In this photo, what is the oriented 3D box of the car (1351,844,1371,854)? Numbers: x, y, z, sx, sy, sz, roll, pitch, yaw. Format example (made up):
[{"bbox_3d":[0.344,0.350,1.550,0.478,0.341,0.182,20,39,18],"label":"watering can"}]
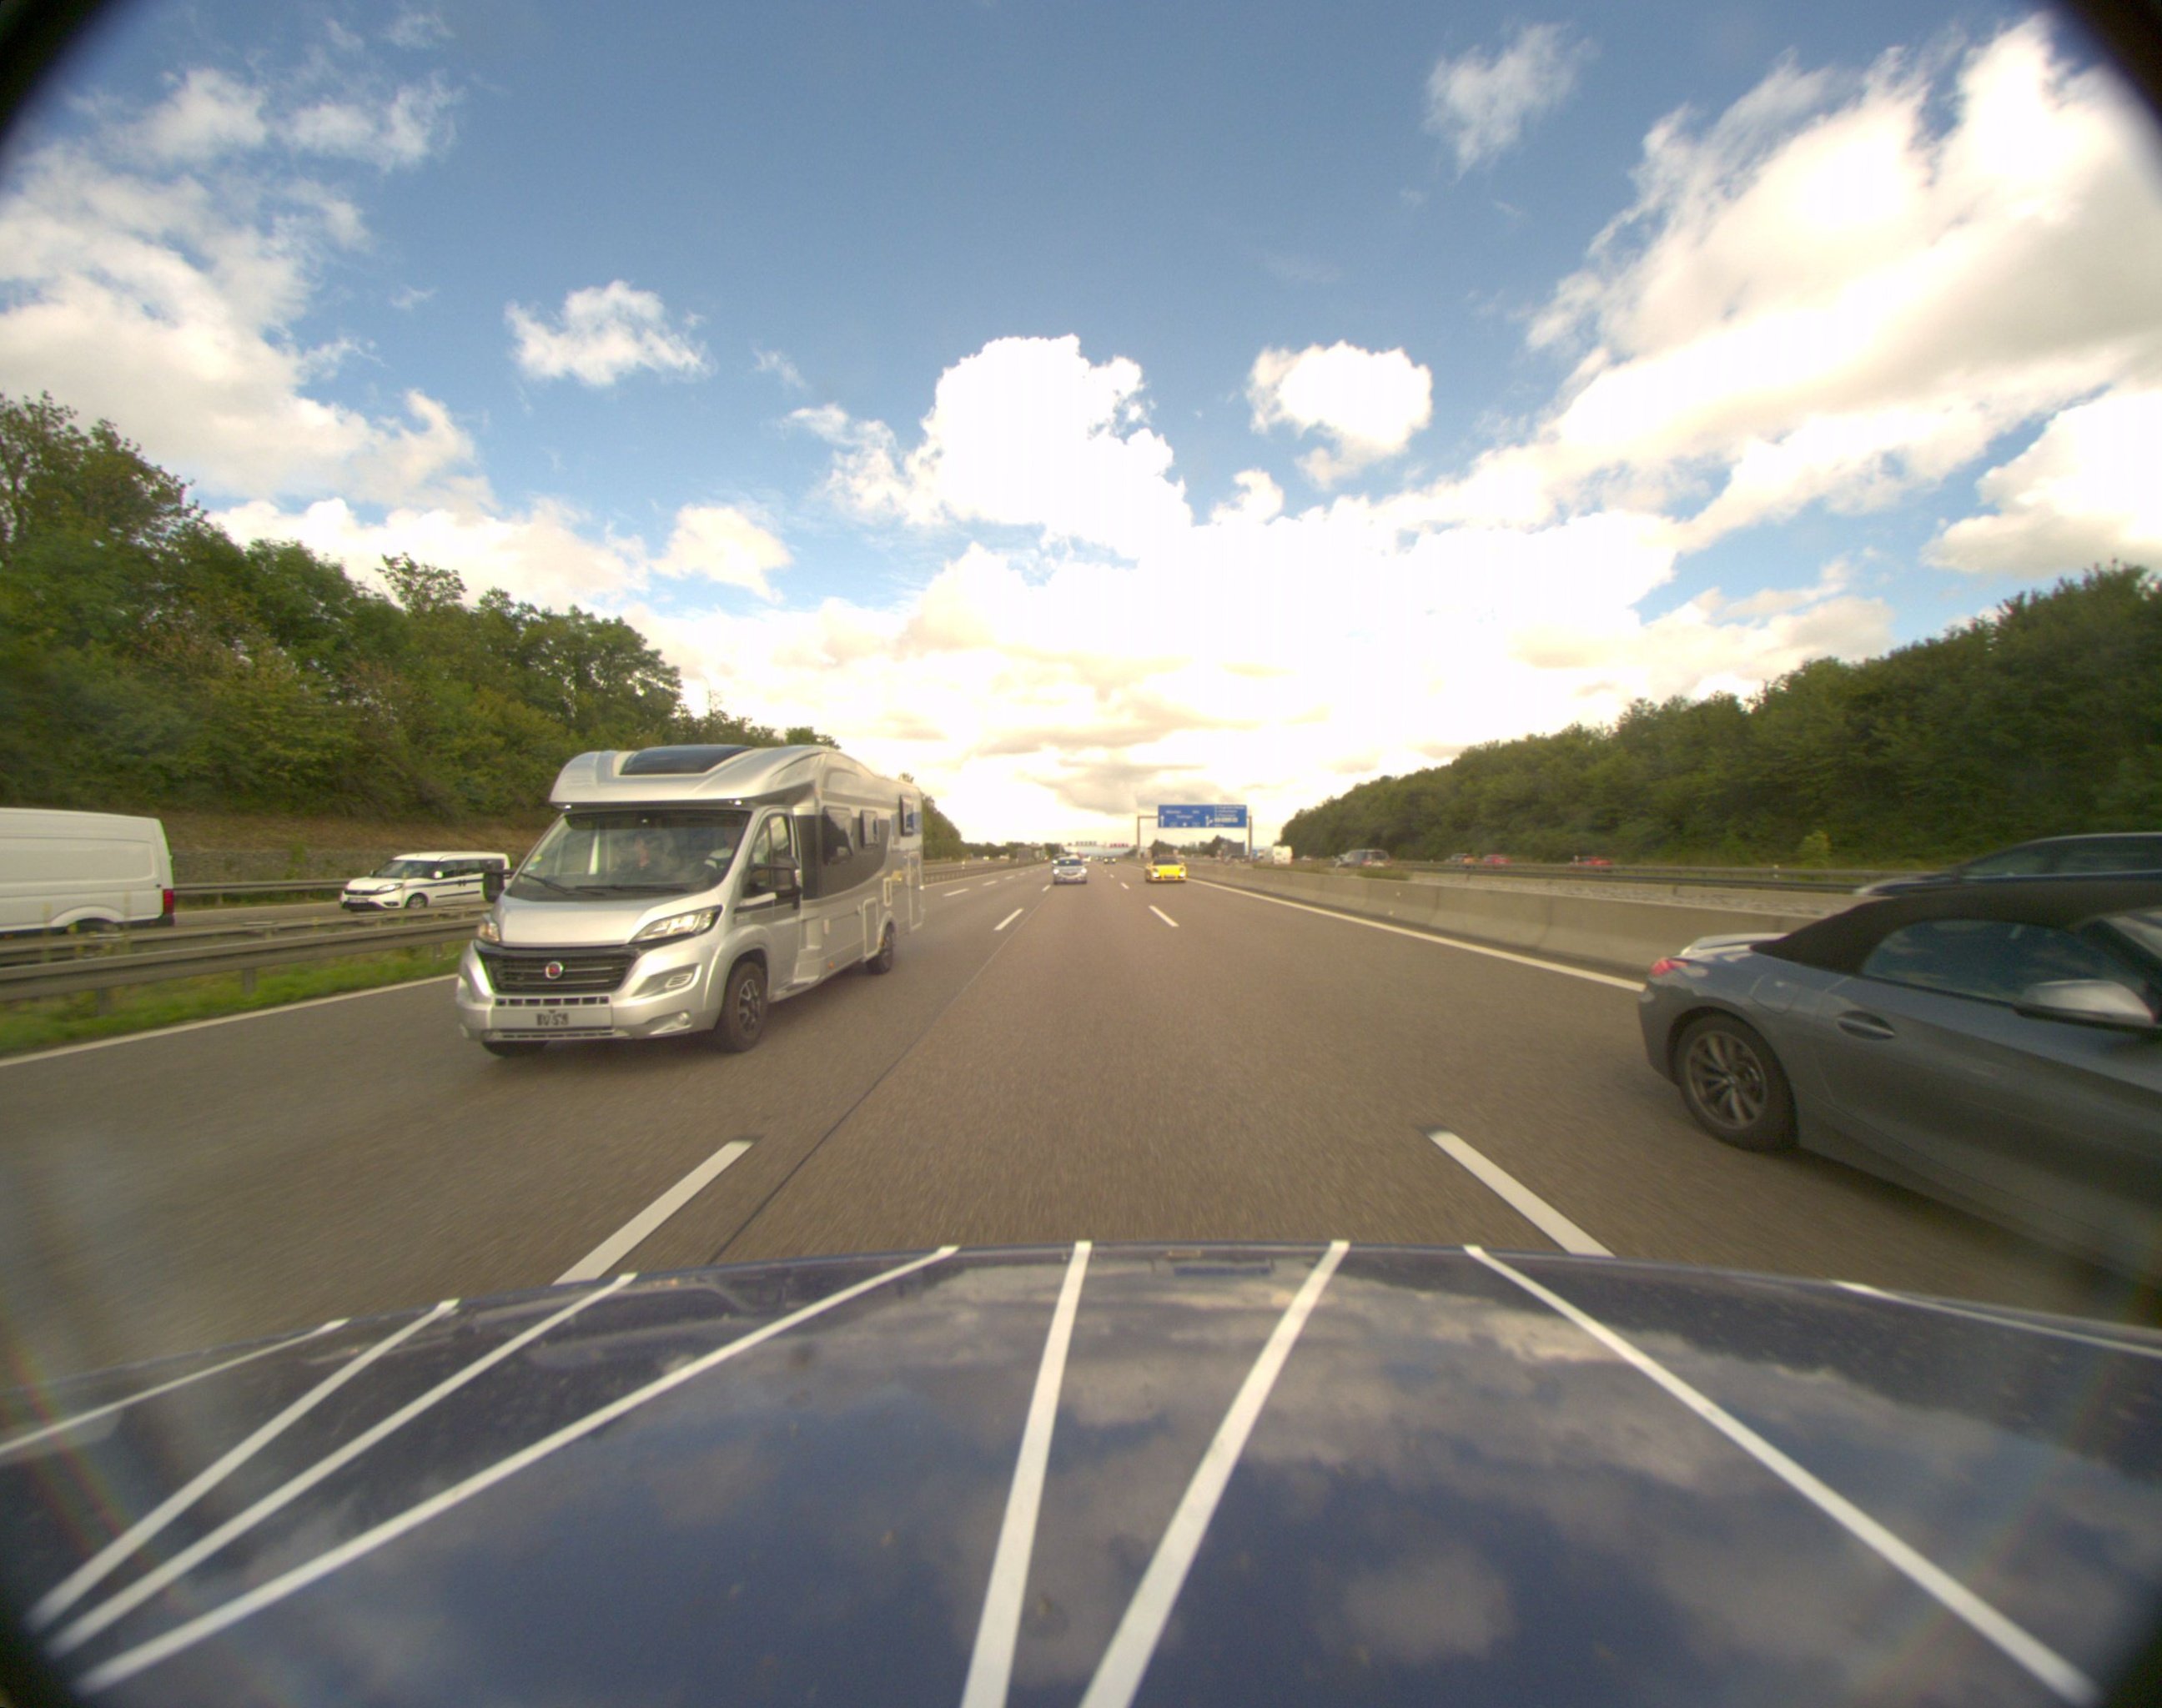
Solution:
[{"bbox_3d":[42.893,-0.736,116.470,1.596,1.486,4.180,0,0,-1],"label":"car"}]

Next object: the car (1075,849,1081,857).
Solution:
[{"bbox_3d":[-0.992,-0.421,254.550,1.854,2.565,5.411,0,0,0],"label":"car"}]

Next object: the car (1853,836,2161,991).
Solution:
[{"bbox_3d":[12.267,0.612,8.972,1.776,1.601,4.465,-1,1,0],"label":"car"}]

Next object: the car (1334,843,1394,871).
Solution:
[{"bbox_3d":[16.574,0.133,44.768,1.779,1.552,4.780,-1,1,0],"label":"car"}]

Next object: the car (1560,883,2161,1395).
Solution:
[{"bbox_3d":[4.004,0.872,2.398,1.878,1.295,4.942,-1,0,0],"label":"car"}]

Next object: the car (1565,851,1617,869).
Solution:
[{"bbox_3d":[41.924,0.494,62.525,1.567,1.357,4.051,-1,1,0],"label":"car"}]

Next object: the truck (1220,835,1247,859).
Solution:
[{"bbox_3d":[21.607,-0.994,108.032,2.359,3.245,7.824,-1,1,0],"label":"truck"}]

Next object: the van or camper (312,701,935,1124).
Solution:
[{"bbox_3d":[-3.738,0.362,8.835,2.475,2.706,7.660,-2,0,0],"label":"van or camper"}]

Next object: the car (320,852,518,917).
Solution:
[{"bbox_3d":[-20.115,0.832,23.453,1.848,1.741,4.764,-2,0,1],"label":"car"}]

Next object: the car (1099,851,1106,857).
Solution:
[{"bbox_3d":[6.328,-0.036,228.211,1.998,2.002,4.589,0,0,1],"label":"car"}]

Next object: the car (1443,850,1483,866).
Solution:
[{"bbox_3d":[34.494,0.316,68.725,1.567,1.357,4.051,-1,1,0],"label":"car"}]

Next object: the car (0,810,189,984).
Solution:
[{"bbox_3d":[-16.879,0.638,10.091,2.075,2.539,6.742,0,0,0],"label":"car"}]

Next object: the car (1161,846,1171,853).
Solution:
[{"bbox_3d":[22.362,-1.216,200.217,1.839,1.775,5.502,0,0,0],"label":"car"}]

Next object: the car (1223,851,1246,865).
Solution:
[{"bbox_3d":[17.392,0.404,86.124,1.741,1.502,4.051,-1,1,0],"label":"car"}]

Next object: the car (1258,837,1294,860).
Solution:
[{"bbox_3d":[20.814,-0.600,81.389,2.170,2.258,6.460,-1,1,0],"label":"car"}]

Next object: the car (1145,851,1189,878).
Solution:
[{"bbox_3d":[4.387,0.493,39.382,1.811,1.307,4.247,1,0,0],"label":"car"}]

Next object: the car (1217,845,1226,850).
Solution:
[{"bbox_3d":[39.420,-1.786,213.496,1.662,1.435,4.323,0,0,0],"label":"car"}]

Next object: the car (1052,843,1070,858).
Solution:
[{"bbox_3d":[-2.257,-0.448,86.566,1.876,1.626,4.858,-1,0,0],"label":"car"}]

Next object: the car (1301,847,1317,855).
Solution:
[{"bbox_3d":[42.644,-0.564,142.230,1.596,1.486,4.508,0,0,-1],"label":"car"}]

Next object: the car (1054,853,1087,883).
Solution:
[{"bbox_3d":[-0.550,0.715,41.695,1.688,1.476,4.615,-1,0,0],"label":"car"}]

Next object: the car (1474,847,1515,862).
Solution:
[{"bbox_3d":[38.291,0.039,70.507,1.567,1.357,4.051,-1,1,0],"label":"car"}]

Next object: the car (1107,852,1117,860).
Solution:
[{"bbox_3d":[5.311,0.401,131.715,1.593,1.307,3.977,1,0,0],"label":"car"}]

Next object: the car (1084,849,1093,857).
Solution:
[{"bbox_3d":[1.652,-0.208,165.300,1.737,1.608,4.000,-1,0,1],"label":"car"}]

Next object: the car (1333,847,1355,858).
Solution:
[{"bbox_3d":[35.192,-0.195,101.757,1.567,1.357,4.051,-1,1,0],"label":"car"}]
